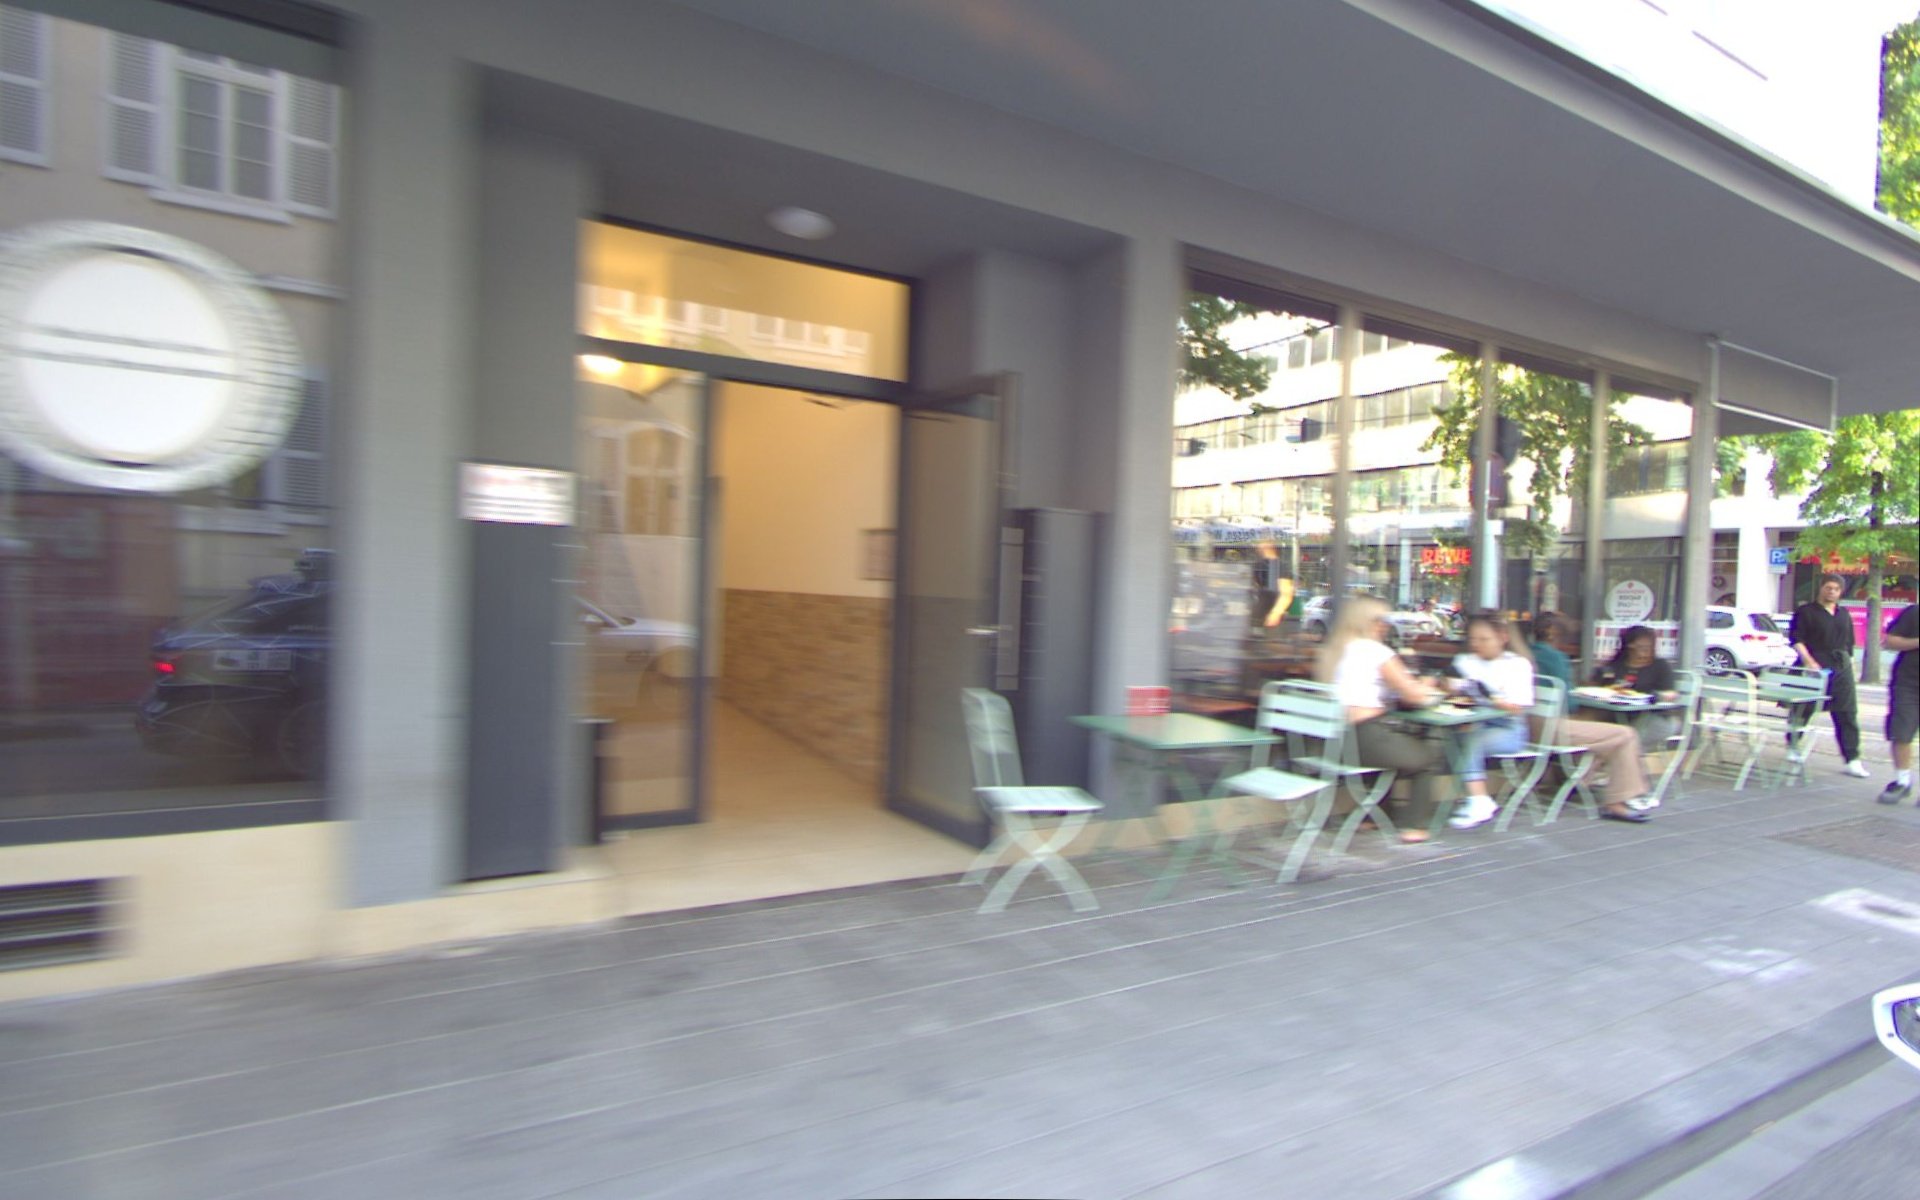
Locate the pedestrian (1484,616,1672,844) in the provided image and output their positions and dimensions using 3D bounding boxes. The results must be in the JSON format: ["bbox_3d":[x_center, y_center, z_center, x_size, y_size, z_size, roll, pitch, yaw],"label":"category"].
[{"bbox_3d":[3.891,0.773,6.345,0.705,1.293,0.698,1,3,-30],"label":"pedestrian"}]

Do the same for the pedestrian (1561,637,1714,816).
[{"bbox_3d":[4.706,0.846,6.987,0.705,1.129,0.570,1,3,-30],"label":"pedestrian"}]

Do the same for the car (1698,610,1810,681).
[{"bbox_3d":[21.003,1.133,26.728,1.917,1.526,3.986,2,2,33],"label":"car"}]

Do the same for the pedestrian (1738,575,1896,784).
[{"bbox_3d":[7.523,0.651,8.872,0.784,1.690,0.901,4,2,28],"label":"pedestrian"}]

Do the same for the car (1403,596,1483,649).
[{"bbox_3d":[16.256,0.687,33.725,1.917,1.526,3.986,2,2,33],"label":"car"}]

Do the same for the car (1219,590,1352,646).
[{"bbox_3d":[11.531,0.606,35.811,1.849,1.760,4.245,4,0,-33],"label":"car"}]

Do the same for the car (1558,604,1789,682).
[{"bbox_3d":[17.508,1.010,24.851,1.809,1.613,4.245,4,0,-33],"label":"car"}]

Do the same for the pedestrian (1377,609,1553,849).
[{"bbox_3d":[2.977,0.721,5.938,0.705,1.293,0.570,1,3,-30],"label":"pedestrian"}]

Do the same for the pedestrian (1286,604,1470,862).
[{"bbox_3d":[2.304,0.691,5.557,0.705,1.293,0.570,1,3,-30],"label":"pedestrian"}]

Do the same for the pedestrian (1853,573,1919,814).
[{"bbox_3d":[6.977,0.668,7.254,0.678,1.690,0.503,5,3,43],"label":"pedestrian"}]
